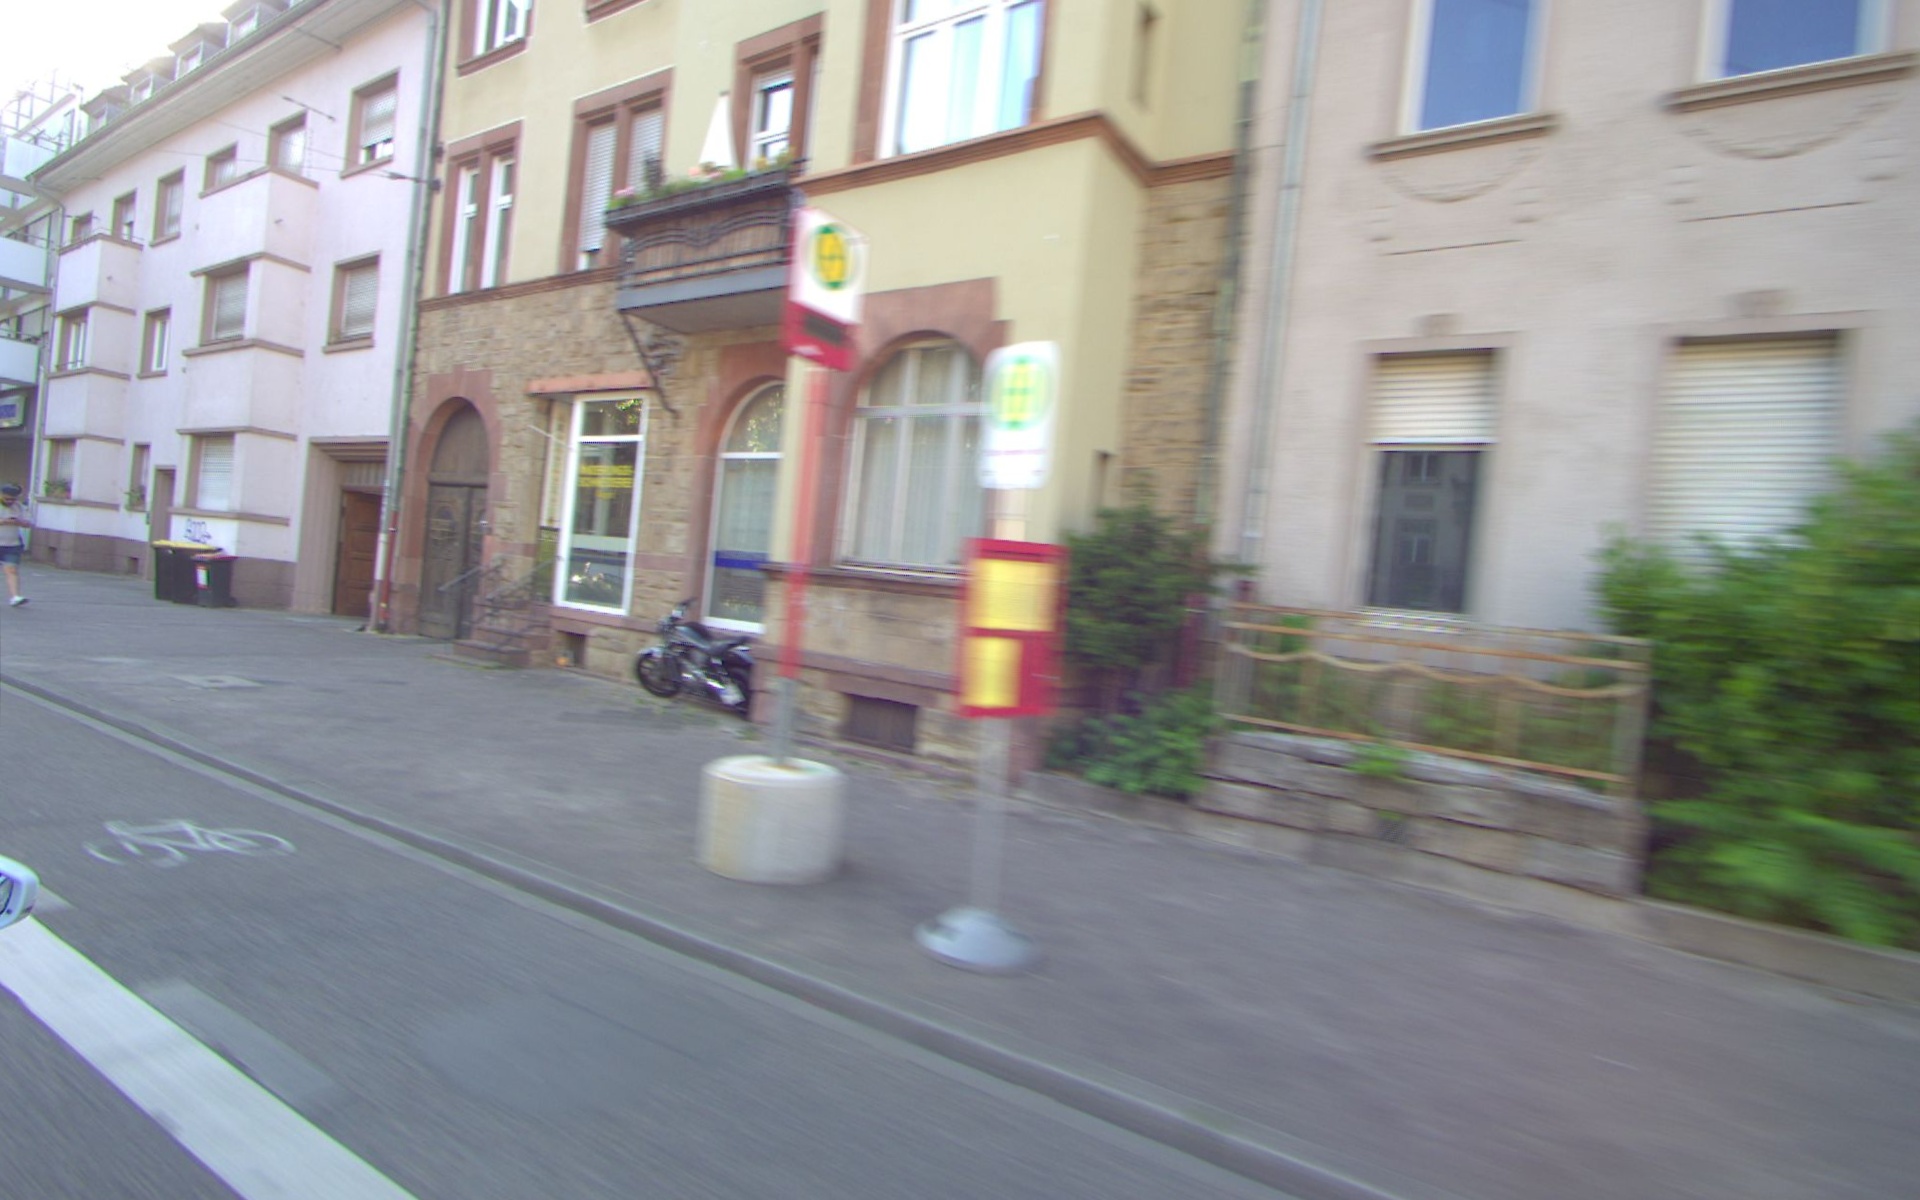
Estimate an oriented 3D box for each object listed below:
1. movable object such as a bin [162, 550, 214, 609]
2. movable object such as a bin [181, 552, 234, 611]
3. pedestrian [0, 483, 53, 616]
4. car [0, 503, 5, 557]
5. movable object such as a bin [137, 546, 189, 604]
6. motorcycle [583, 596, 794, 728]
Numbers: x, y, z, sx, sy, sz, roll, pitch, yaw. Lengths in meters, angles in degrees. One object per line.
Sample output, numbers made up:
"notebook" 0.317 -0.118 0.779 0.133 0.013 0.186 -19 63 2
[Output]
"movable object such as a bin" -13.863 -0.368 18.064 0.576 0.981 0.553 5 0 37
"movable object such as a bin" -13.287 -0.326 17.769 0.576 0.981 0.553 5 0 37
"pedestrian" -13.948 -0.755 14.580 1.132 1.835 0.829 5 0 34
"car" -29.264 -2.220 27.735 1.881 1.519 3.817 7 0 30
"movable object such as a bin" -14.555 -0.457 18.375 0.576 0.981 0.553 5 0 37
"motorcycle" -2.979 0.634 10.889 2.464 1.151 0.590 5 0 31
